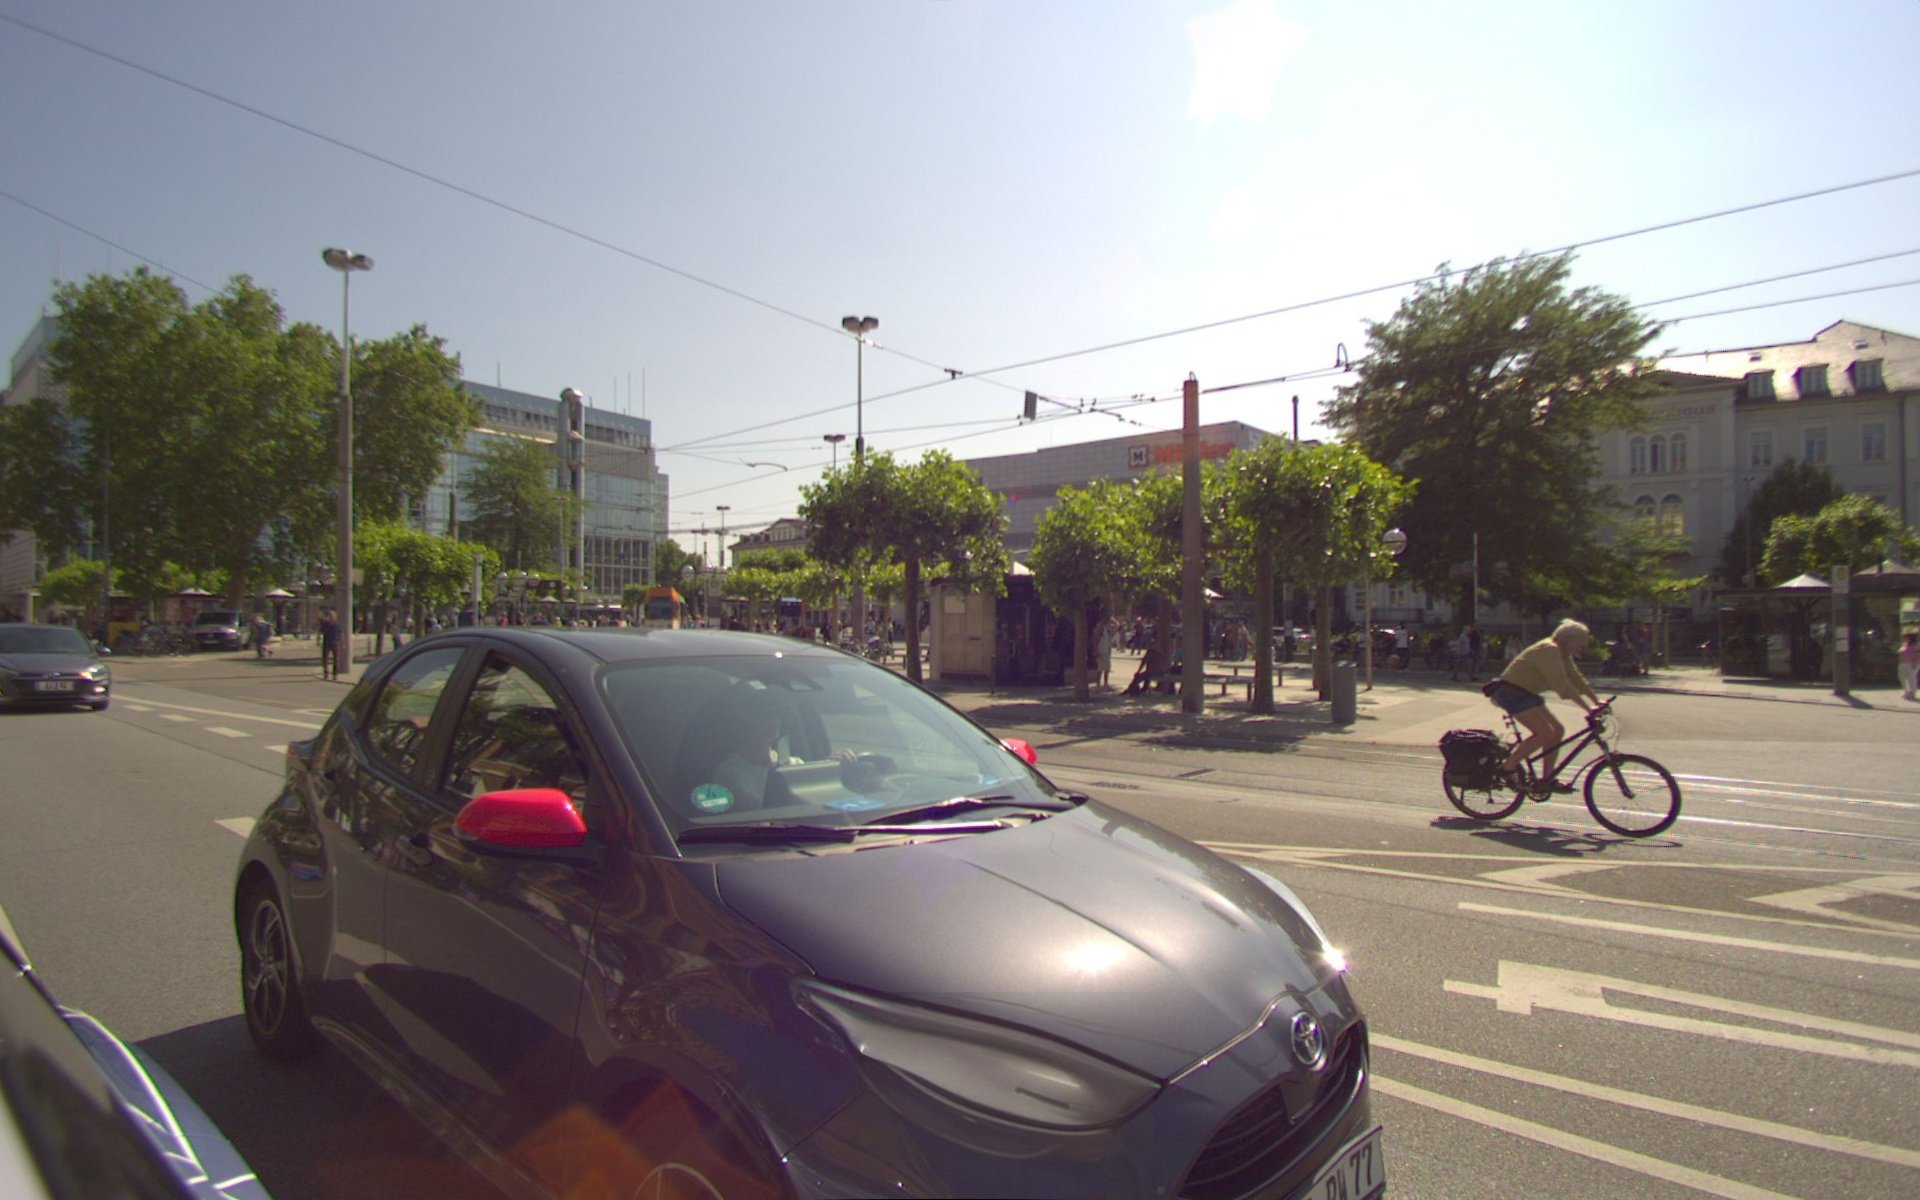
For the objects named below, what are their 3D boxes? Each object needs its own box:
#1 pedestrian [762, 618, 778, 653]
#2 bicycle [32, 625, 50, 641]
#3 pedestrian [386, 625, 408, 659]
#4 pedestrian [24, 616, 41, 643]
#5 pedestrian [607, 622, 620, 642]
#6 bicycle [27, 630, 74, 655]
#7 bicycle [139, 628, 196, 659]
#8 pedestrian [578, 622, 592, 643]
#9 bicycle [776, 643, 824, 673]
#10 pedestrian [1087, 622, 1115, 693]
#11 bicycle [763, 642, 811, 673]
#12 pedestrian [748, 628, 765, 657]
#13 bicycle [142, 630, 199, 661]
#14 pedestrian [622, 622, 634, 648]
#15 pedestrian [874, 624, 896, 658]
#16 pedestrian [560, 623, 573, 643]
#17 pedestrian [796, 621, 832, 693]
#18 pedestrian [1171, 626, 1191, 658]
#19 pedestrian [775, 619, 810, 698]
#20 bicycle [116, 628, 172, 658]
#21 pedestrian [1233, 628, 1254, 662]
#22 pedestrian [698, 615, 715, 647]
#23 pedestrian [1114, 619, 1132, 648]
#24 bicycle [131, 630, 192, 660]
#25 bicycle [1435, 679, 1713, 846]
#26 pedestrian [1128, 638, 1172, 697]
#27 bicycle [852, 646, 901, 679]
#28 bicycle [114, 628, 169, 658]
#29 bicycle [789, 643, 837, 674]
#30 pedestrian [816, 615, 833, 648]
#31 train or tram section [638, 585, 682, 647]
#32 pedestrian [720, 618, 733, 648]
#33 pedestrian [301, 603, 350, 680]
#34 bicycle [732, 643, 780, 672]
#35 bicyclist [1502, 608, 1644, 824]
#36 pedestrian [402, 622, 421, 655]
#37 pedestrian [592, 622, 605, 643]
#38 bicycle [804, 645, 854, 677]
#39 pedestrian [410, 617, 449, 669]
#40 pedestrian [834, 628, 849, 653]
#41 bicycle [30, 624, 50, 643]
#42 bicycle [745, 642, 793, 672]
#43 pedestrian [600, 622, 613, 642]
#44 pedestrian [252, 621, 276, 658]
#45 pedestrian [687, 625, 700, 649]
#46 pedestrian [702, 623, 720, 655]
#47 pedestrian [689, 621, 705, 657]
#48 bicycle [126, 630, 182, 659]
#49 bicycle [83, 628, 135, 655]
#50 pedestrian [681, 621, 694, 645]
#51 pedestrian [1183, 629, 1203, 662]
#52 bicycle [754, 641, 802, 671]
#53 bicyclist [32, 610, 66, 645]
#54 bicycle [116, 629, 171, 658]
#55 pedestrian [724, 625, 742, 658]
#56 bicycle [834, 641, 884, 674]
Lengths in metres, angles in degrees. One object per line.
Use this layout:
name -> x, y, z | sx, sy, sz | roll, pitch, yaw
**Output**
pedestrian -> -9.497, 1.776, 50.620 | 0.584, 1.744, 0.557 | 0, -4, 19
bicycle -> -66.089, 2.350, 72.782 | 1.753, 1.156, 0.586 | -1, -1, 34
pedestrian -> -21.458, 1.586, 38.560 | 0.569, 1.243, 0.556 | -2, 2, -15
pedestrian -> -59.992, 1.885, 65.473 | 0.721, 1.682, 0.641 | -1, 1, -36
pedestrian -> -26.139, 2.412, 76.400 | 0.555, 1.483, 0.748 | -1, 1, 40
bicycle -> -40.219, 1.873, 44.740 | 2.616, 1.030, 0.823 | -1, 1, 31
bicycle -> -31.453, 1.722, 40.186 | 0.482, 1.156, 1.735 | -1, -1, 39
pedestrian -> -27.866, 2.414, 75.243 | 0.555, 1.483, 0.748 | -1, 1, 40
bicycle -> -5.211, 1.882, 33.100 | 0.544, 0.862, 1.853 | -1, 1, 28
pedestrian -> 3.290, 1.340, 23.599 | 0.597, 1.621, 0.574 | 0, -3, 12
bicycle -> -5.686, 1.883, 33.451 | 0.544, 0.862, 1.853 | -1, 1, 28
pedestrian -> -10.892, 2.276, 54.142 | 0.675, 1.513, 0.621 | 0, -4, 19
bicycle -> -31.121, 1.795, 39.911 | 0.482, 1.156, 1.735 | -1, -1, 39
pedestrian -> -20.132, 2.119, 61.441 | 0.448, 1.561, 0.474 | 0, -3, 14
pedestrian -> -3.263, 1.791, 43.996 | 0.670, 1.477, 0.626 | 4, -5, -43
pedestrian -> -29.031, 2.437, 74.640 | 0.555, 1.483, 0.748 | -1, 1, 40
pedestrian -> -3.358, 1.314, 23.259 | 0.518, 1.621, 0.627 | 4, -4, -40
pedestrian -> 10.064, 1.913, 46.100 | 0.679, 1.477, 0.617 | -2, -4, 38
pedestrian -> -3.749, 1.302, 22.662 | 0.581, 1.747, 0.524 | 0, -3, 11
bicycle -> -33.703, 1.766, 41.834 | 0.482, 1.156, 1.735 | -1, -1, 39
pedestrian -> 12.193, 1.937, 43.515 | 0.616, 1.477, 0.681 | 4, -5, -44
pedestrian -> -14.483, 1.793, 57.805 | 0.675, 1.809, 0.621 | 0, -4, 19
pedestrian -> 8.403, 1.744, 52.153 | 0.680, 1.477, 0.616 | -2, -5, 44
bicycle -> -32.129, 1.798, 40.745 | 0.482, 1.156, 1.842 | -1, -1, 39
bicycle -> 4.995, 1.254, 8.288 | 1.871, 1.129, 0.810 | 0, -4, 38
pedestrian -> 4.177, 1.484, 22.260 | 0.751, 1.256, 0.669 | -1, -4, 35
bicycle -> -2.537, 1.887, 30.812 | 0.579, 0.876, 1.853 | -1, 1, 28
bicycle -> -34.098, 1.782, 42.181 | 0.482, 1.156, 1.735 | -1, -1, 39
bicycle -> -4.732, 1.863, 32.690 | 0.544, 0.862, 1.853 | -1, 1, 28
pedestrian -> -6.555, 1.523, 49.058 | 0.530, 1.565, 0.592 | -2, -5, 44
train or tram section -> -20.142, 0.985, 68.286 | 2.578, 3.856, 9.547 | -1, 1, -16
pedestrian -> -13.666, 1.933, 59.166 | 0.462, 1.731, 0.555 | 0, -4, 19
pedestrian -> -17.005, 1.118, 27.144 | 0.670, 2.023, 0.895 | 1, -3, -3
bicycle -> -6.957, 1.945, 34.570 | 0.544, 0.862, 1.853 | -1, 1, 28
bicyclist -> 5.019, 0.915, 8.288 | 0.901, 1.634, 0.810 | -2, -5, 37
pedestrian -> -25.154, 1.788, 46.433 | 0.716, 1.477, 0.682 | 3, -4, -28
pedestrian -> -27.011, 2.419, 75.637 | 0.555, 1.483, 0.748 | -1, 1, 40
bicycle -> -4.119, 1.907, 31.924 | 0.579, 0.876, 1.853 | -1, 1, 28
pedestrian -> -17.373, 1.414, 33.149 | 0.678, 1.671, 0.885 | 0, -3, 32
pedestrian -> -7.007, 2.410, 59.872 | 0.672, 1.477, 0.623 | 1, -3, 7
bicycle -> -59.684, 2.182, 65.656 | 0.718, 1.152, 1.917 | -1, 1, -35
bicycle -> -6.437, 1.900, 34.227 | 0.580, 0.878, 1.853 | -1, 1, 28
pedestrian -> -26.842, 2.424, 76.885 | 0.555, 1.483, 0.748 | -1, 1, 40
pedestrian -> -27.734, 1.569, 40.328 | 0.680, 1.477, 0.616 | -1, -2, 41
pedestrian -> -17.461, 2.434, 66.336 | 0.573, 1.561, 0.677 | 0, -3, 14
pedestrian -> -11.600, 1.809, 47.141 | 0.549, 1.477, 0.621 | 0, -4, 19
pedestrian -> -12.330, 1.848, 47.451 | 0.518, 1.678, 0.469 | 0, -4, 19
bicycle -> -32.993, 1.810, 41.456 | 0.482, 1.156, 1.735 | -1, -1, 39
bicycle -> -38.561, 1.876, 45.885 | 0.482, 1.156, 1.735 | -1, -1, 39
pedestrian -> -18.202, 2.214, 67.558 | 0.573, 1.561, 0.677 | 0, -3, 14
pedestrian -> 10.389, 2.026, 45.069 | 0.679, 1.477, 0.617 | -1, -4, 36
bicycle -> -6.067, 1.871, 33.838 | 0.544, 0.862, 1.853 | -1, 1, 28
bicyclist -> -40.406, 1.199, 44.871 | 1.157, 1.509, 0.823 | -1, 1, 32
bicycle -> -34.458, 1.825, 42.721 | 0.482, 1.156, 1.735 | -1, -1, 39
pedestrian -> -10.084, 1.840, 44.989 | 0.617, 1.429, 0.680 | 1, -3, 3
bicycle -> -3.084, 1.761, 31.085 | 0.579, 0.876, 1.853 | -1, 1, 28
